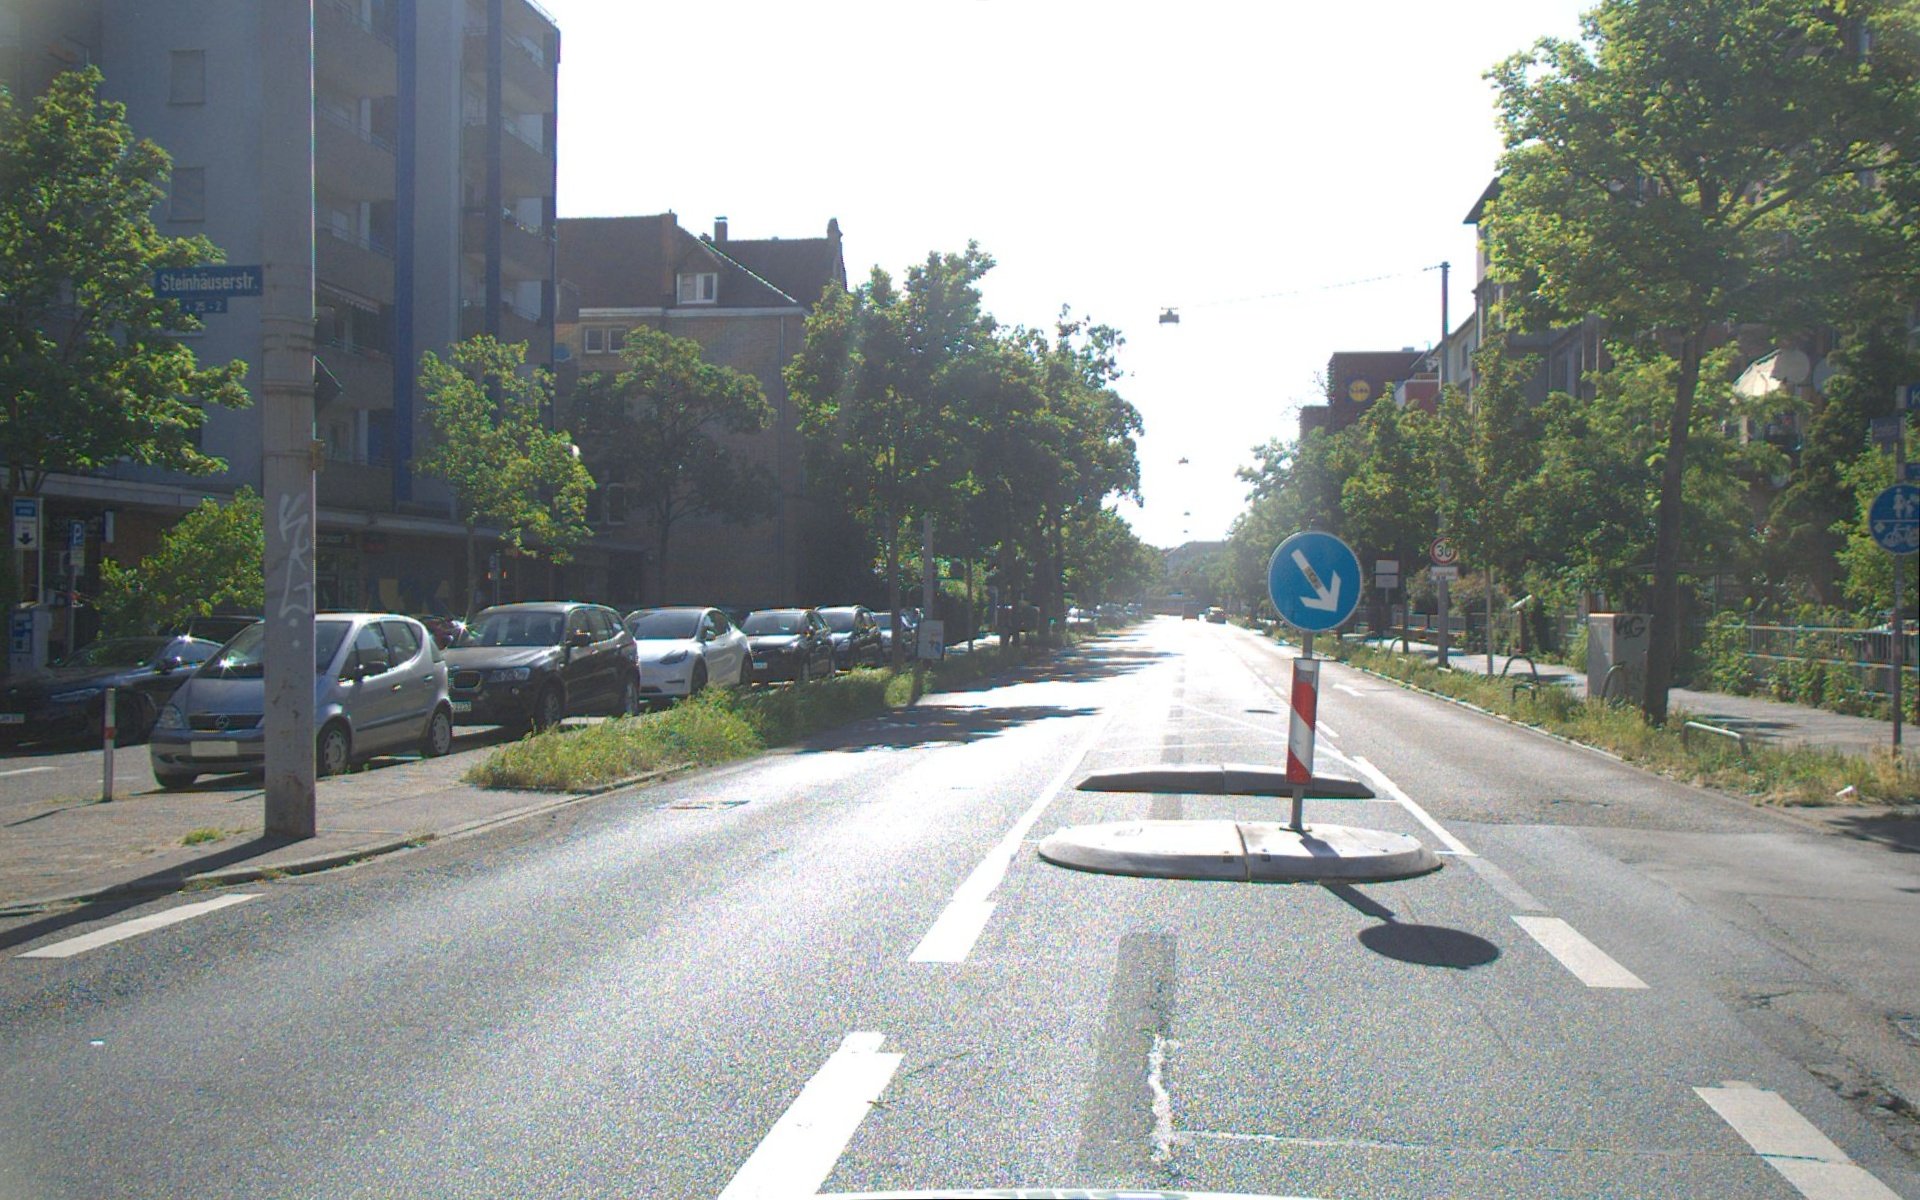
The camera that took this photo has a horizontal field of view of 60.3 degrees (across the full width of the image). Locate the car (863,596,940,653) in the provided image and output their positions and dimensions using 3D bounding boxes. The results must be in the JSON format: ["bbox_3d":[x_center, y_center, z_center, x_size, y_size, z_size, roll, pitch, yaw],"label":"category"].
[{"bbox_3d":[-1.737,0.721,50.432,1.725,1.675,4.003,0,0,8],"label":"car"}]

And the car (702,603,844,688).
[{"bbox_3d":[-3.784,0.894,34.082,1.823,1.615,4.003,-1,0,10],"label":"car"}]

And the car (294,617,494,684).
[{"bbox_3d":[-12.720,1.124,37.300,3.903,1.449,1.688,0,0,4],"label":"car"}]

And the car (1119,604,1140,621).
[{"bbox_3d":[17.535,1.291,170.979,1.951,1.725,4.003,0,0,10],"label":"car"}]

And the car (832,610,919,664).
[{"bbox_3d":[-2.292,0.995,45.748,1.717,1.422,4.003,0,0,7],"label":"car"}]

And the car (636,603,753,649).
[{"bbox_3d":[-9.599,0.930,59.908,3.903,1.658,1.688,0,0,4],"label":"car"}]

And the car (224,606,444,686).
[{"bbox_3d":[-13.110,0.943,34.759,3.903,1.635,1.842,0,0,4],"label":"car"}]

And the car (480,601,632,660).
[{"bbox_3d":[-11.610,0.869,47.646,3.903,1.658,1.688,0,0,4],"label":"car"}]

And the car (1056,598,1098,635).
[{"bbox_3d":[6.745,0.918,94.857,1.951,2.049,4.209,-1,0,10],"label":"car"}]

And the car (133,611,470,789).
[{"bbox_3d":[-6.390,0.903,16.475,1.683,1.545,3.534,-1,0,5],"label":"car"}]

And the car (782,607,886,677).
[{"bbox_3d":[-2.994,0.976,40.164,1.714,1.580,4.003,-1,0,7],"label":"car"}]

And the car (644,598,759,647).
[{"bbox_3d":[-9.647,0.834,61.977,3.903,1.800,1.887,0,0,5],"label":"car"}]

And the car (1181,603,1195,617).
[{"bbox_3d":[28.561,1.259,207.431,1.720,1.815,4.003,0,0,9],"label":"car"}]

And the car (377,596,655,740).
[{"bbox_3d":[-5.573,0.797,21.423,1.828,1.656,4.508,-1,0,8],"label":"car"}]

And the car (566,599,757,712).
[{"bbox_3d":[-4.918,0.869,27.949,1.848,1.691,4.534,-2,0,7],"label":"car"}]

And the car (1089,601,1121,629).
[{"bbox_3d":[10.699,1.077,121.724,2.017,2.049,4.633,-1,0,9],"label":"car"}]

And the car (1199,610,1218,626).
[{"bbox_3d":[26.696,1.940,177.667,1.909,1.738,4.003,0,0,8],"label":"car"}]

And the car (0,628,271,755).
[{"bbox_3d":[-11.285,1.131,21.896,1.850,1.422,4.533,-1,0,10],"label":"car"}]
